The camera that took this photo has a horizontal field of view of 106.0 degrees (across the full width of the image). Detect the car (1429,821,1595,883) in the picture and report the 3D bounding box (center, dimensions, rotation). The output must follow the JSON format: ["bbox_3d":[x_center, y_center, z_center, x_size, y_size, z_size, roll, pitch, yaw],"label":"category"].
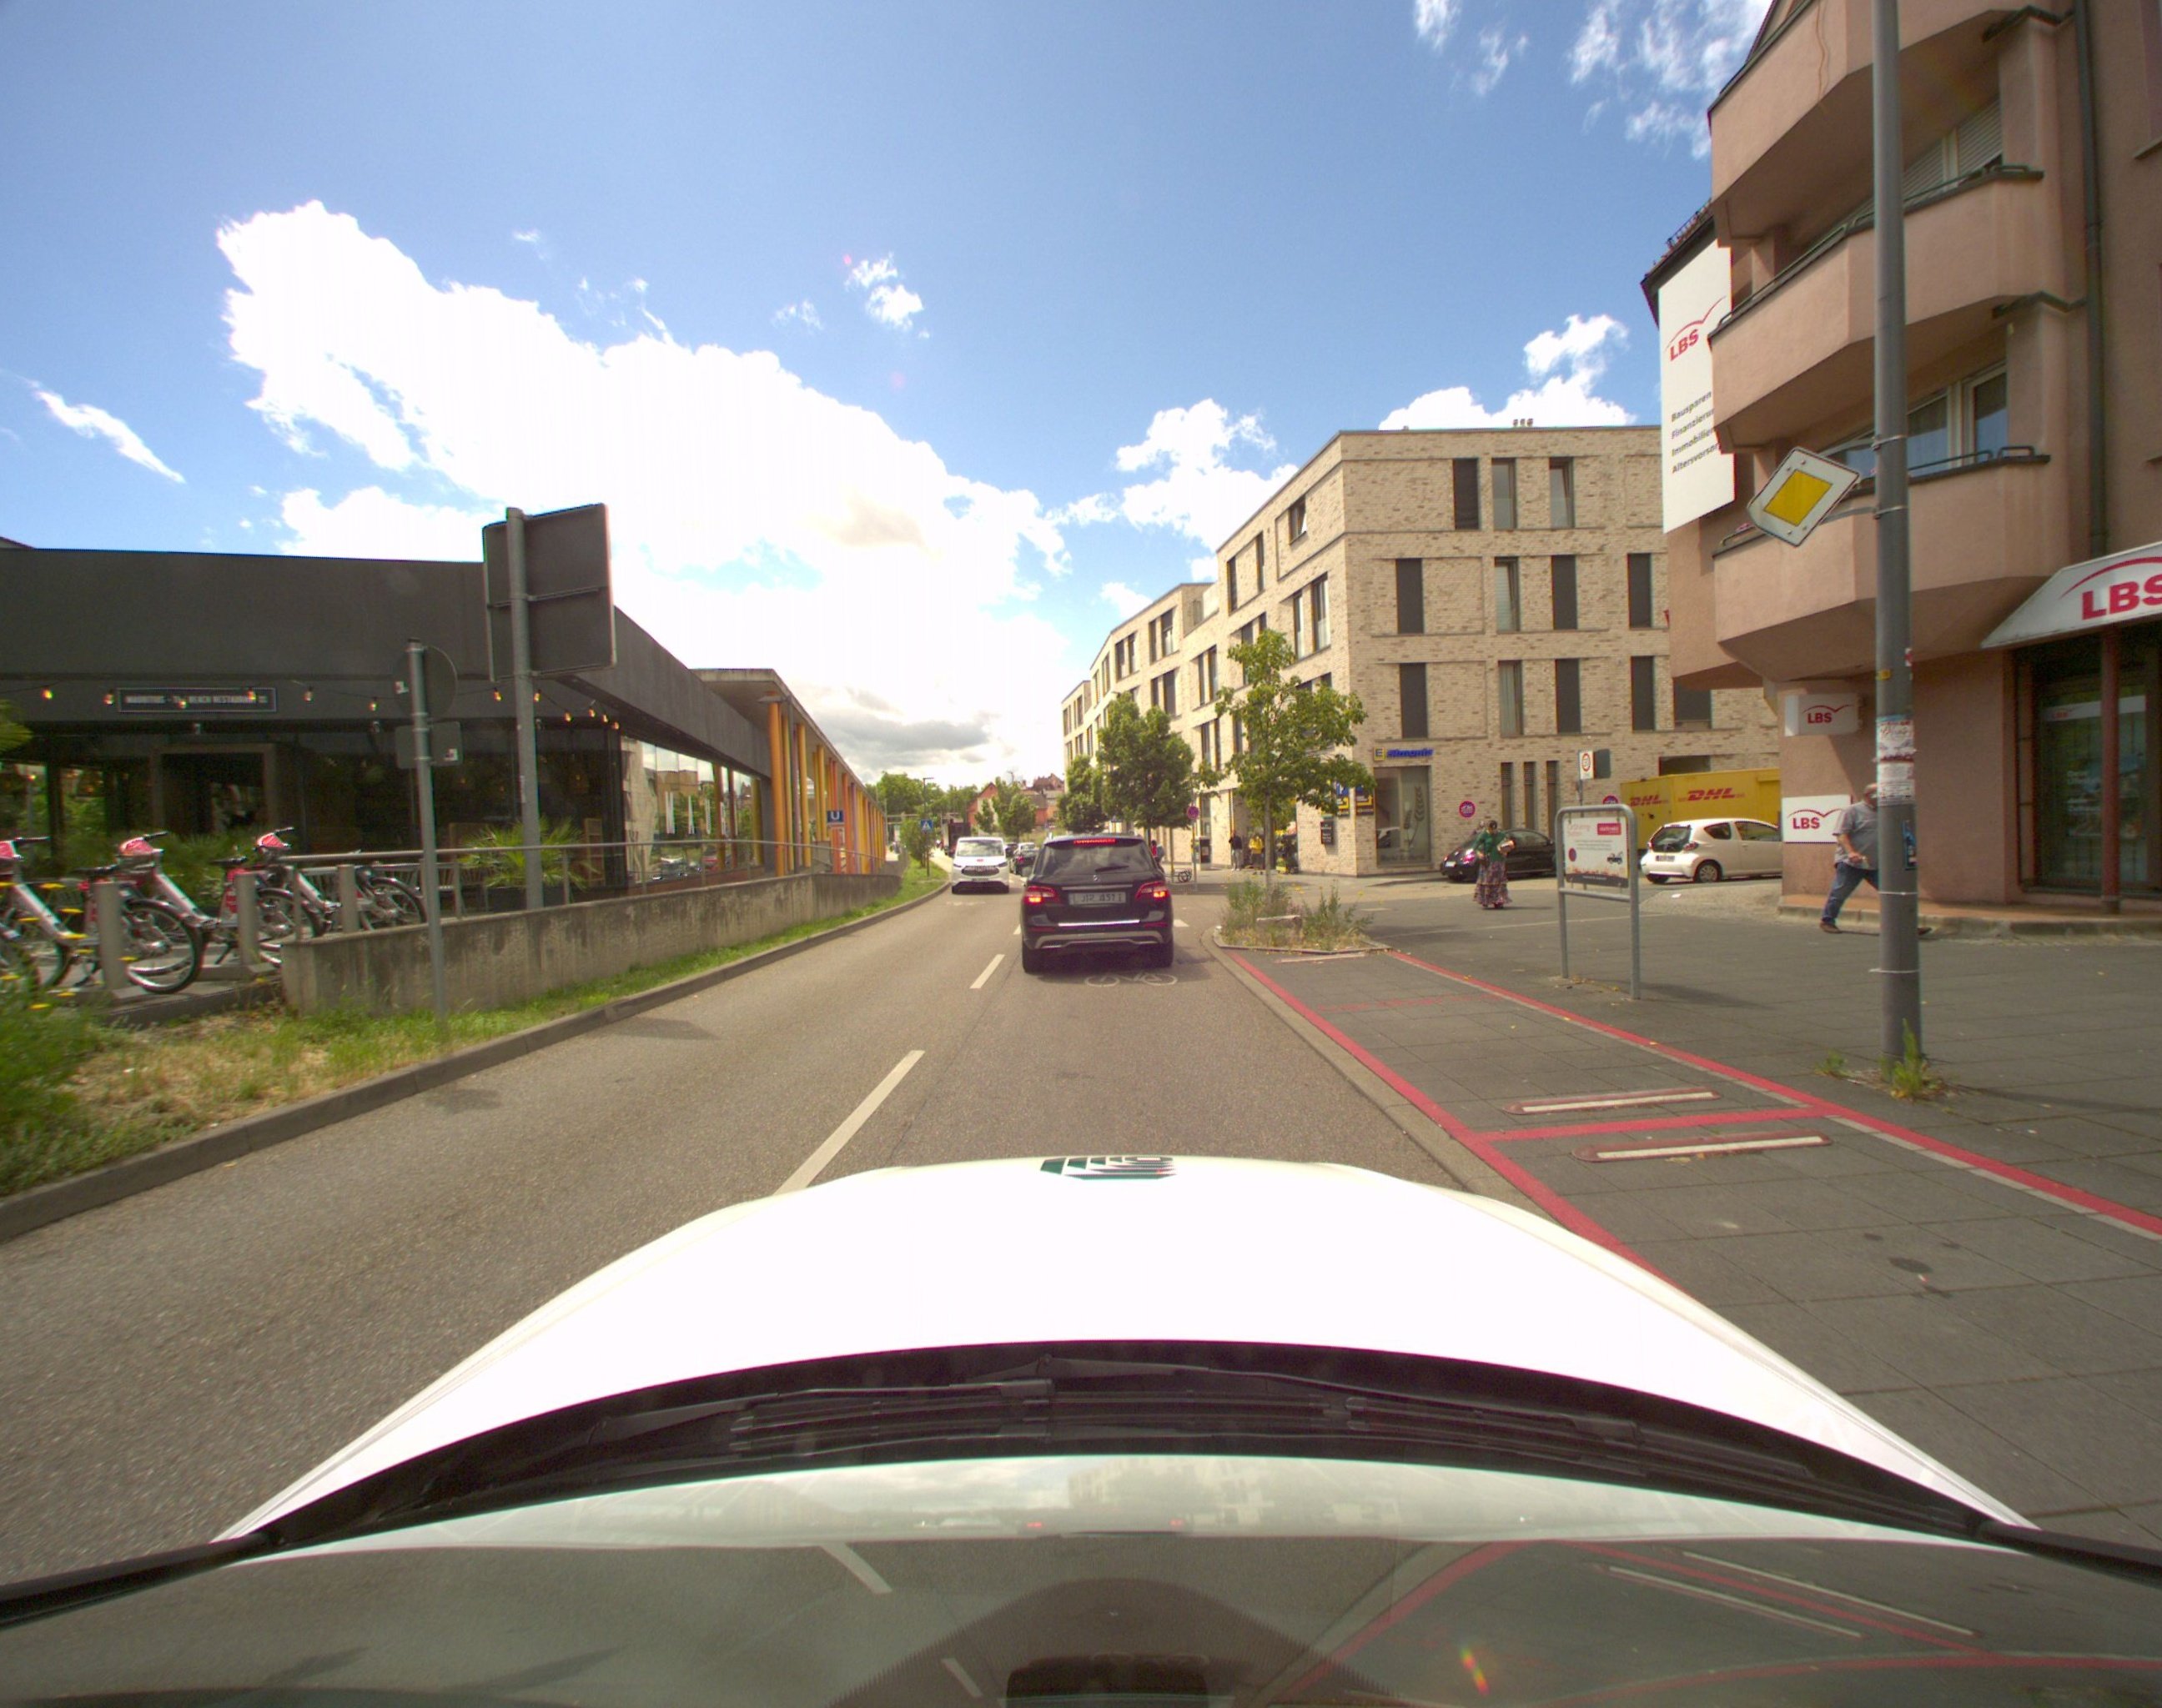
[{"bbox_3d":[12.458,-0.081,23.686,3.886,1.477,1.781,-4,1,-4],"label":"car"}]

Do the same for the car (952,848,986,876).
[{"bbox_3d":[-6.431,0.402,46.537,1.772,1.464,4.220,-1,1,-10],"label":"car"}]

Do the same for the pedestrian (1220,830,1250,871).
[{"bbox_3d":[6.693,-0.164,35.429,1.017,1.741,0.656,-3,1,-16],"label":"pedestrian"}]

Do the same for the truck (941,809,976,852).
[{"bbox_3d":[-14.139,-2.558,93.184,3.206,4.535,8.988,-1,0,-13],"label":"truck"}]

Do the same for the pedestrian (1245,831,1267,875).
[{"bbox_3d":[6.894,-0.025,32.089,0.651,1.692,0.635,-2,1,28],"label":"pedestrian"}]

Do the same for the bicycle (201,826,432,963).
[{"bbox_3d":[-6.905,0.351,7.392,1.541,1.127,0.534,-3,0,1],"label":"bicycle"}]

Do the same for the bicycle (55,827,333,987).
[{"bbox_3d":[-6.899,0.397,6.376,1.541,1.127,0.534,-3,0,1],"label":"bicycle"}]

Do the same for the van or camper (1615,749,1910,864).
[{"bbox_3d":[20.037,-1.339,24.157,6.839,2.736,2.274,-5,-1,-3],"label":"van or camper"}]

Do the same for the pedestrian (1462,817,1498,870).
[{"bbox_3d":[12.825,-0.330,26.179,0.557,1.671,0.807,-1,-1,-33],"label":"pedestrian"}]

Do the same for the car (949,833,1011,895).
[{"bbox_3d":[-3.626,0.298,29.448,1.991,2.013,5.382,-1,0,-7],"label":"car"}]

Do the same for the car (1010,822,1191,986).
[{"bbox_3d":[0.152,0.540,11.670,1.989,1.746,4.528,-4,1,-2],"label":"car"}]

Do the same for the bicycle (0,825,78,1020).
[{"bbox_3d":[-7.023,0.433,4.787,1.541,1.127,0.534,-3,0,1],"label":"bicycle"}]

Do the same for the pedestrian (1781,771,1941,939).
[{"bbox_3d":[8.396,0.016,8.817,0.714,1.685,0.943,-3,-1,-3],"label":"pedestrian"}]

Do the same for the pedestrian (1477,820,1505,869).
[{"bbox_3d":[13.352,-0.316,26.543,0.524,1.573,0.597,-1,-1,-33],"label":"pedestrian"}]

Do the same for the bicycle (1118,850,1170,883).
[{"bbox_3d":[2.386,0.464,30.872,1.820,1.131,0.755,-4,0,-6],"label":"bicycle"}]

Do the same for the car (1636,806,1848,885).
[{"bbox_3d":[14.791,-0.192,18.350,3.371,1.477,1.718,-4,1,-1],"label":"car"}]

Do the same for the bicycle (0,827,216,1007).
[{"bbox_3d":[-6.984,0.425,5.557,1.541,1.127,0.534,-3,0,1],"label":"bicycle"}]

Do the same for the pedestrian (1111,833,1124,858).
[{"bbox_3d":[2.226,-0.521,49.585,0.606,1.472,0.790,-4,2,-5],"label":"pedestrian"}]

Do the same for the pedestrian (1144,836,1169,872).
[{"bbox_3d":[3.312,0.007,35.943,0.813,1.565,0.926,-1,-1,-14],"label":"pedestrian"}]

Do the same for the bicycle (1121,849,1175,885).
[{"bbox_3d":[2.464,0.480,30.046,1.820,1.201,0.755,-4,0,-6],"label":"bicycle"}]

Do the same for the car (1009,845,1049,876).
[{"bbox_3d":[-2.930,0.328,45.524,1.727,1.456,3.795,-3,2,-11],"label":"car"}]

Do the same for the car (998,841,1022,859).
[{"bbox_3d":[-6.491,-0.396,74.028,1.693,1.461,4.131,-4,2,-11],"label":"car"}]

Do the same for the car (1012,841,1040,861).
[{"bbox_3d":[-4.398,-0.261,64.948,1.693,1.483,3.784,-4,2,-11],"label":"car"}]

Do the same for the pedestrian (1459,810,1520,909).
[{"bbox_3d":[7.188,0.083,14.316,0.737,1.638,0.933,-4,1,34],"label":"pedestrian"}]

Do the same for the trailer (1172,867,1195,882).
[{"bbox_3d":[3.775,0.752,29.987,0.718,0.528,0.811,-2,0,-2],"label":"trailer"}]
